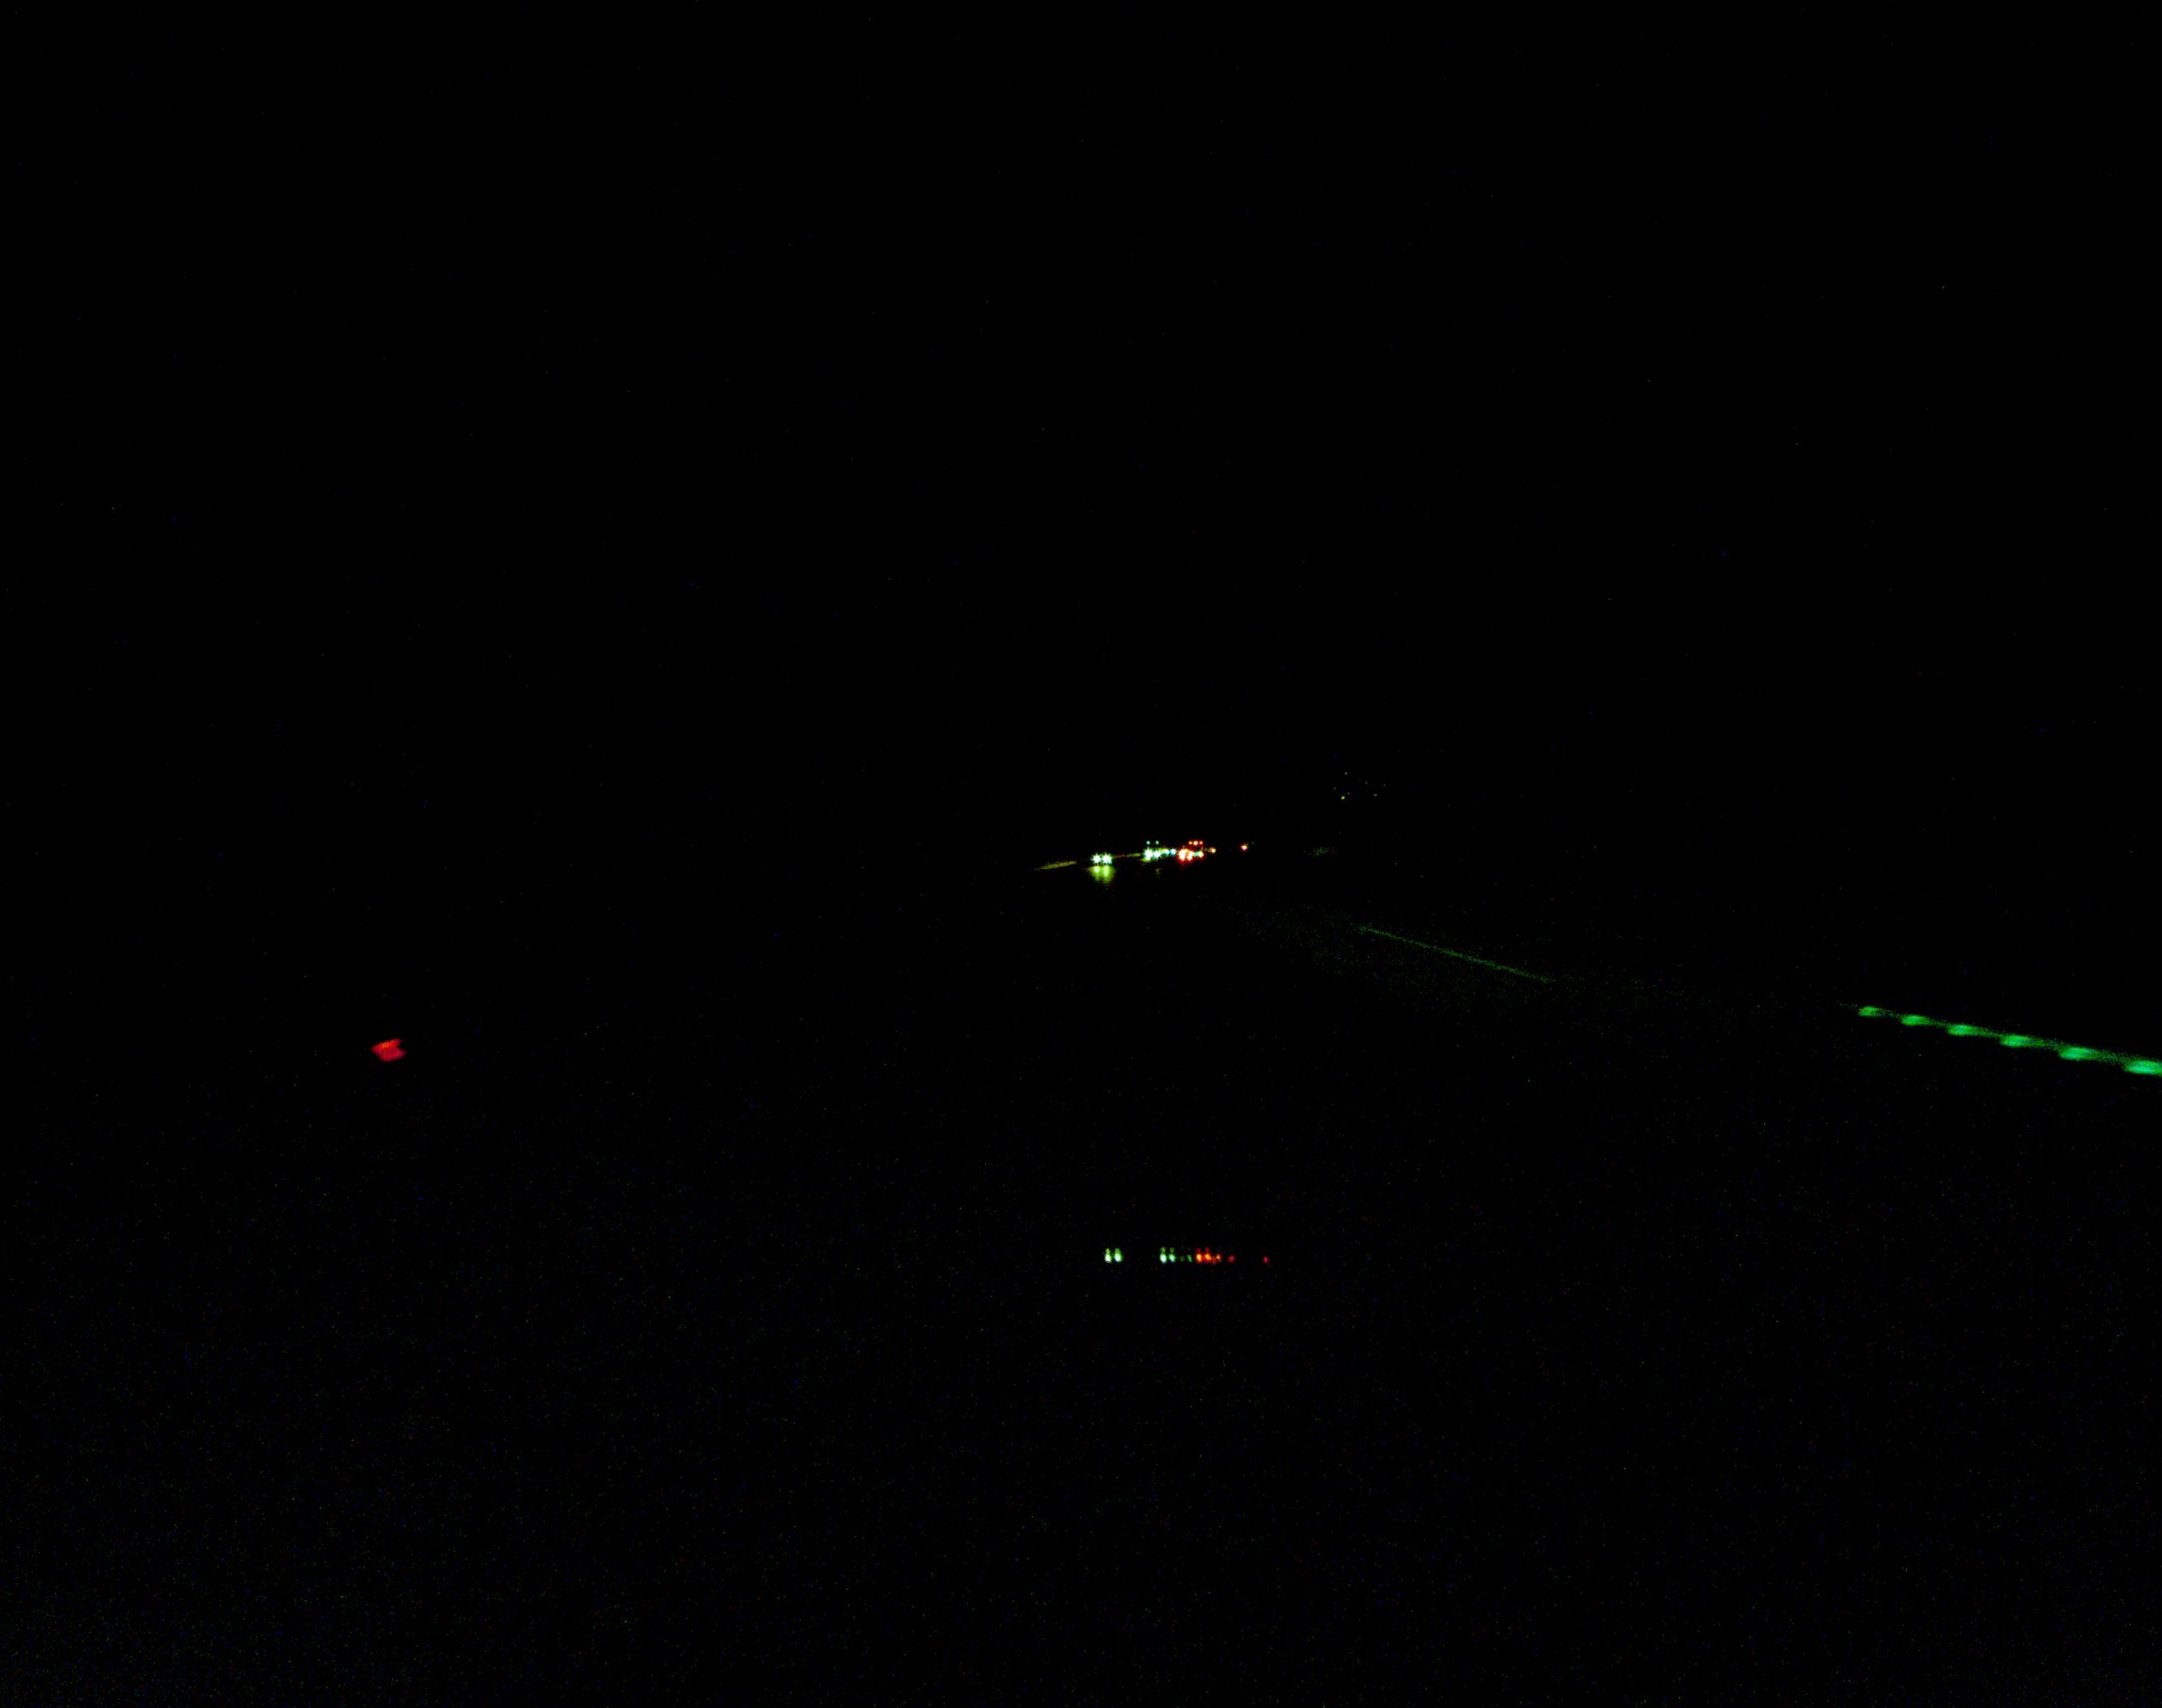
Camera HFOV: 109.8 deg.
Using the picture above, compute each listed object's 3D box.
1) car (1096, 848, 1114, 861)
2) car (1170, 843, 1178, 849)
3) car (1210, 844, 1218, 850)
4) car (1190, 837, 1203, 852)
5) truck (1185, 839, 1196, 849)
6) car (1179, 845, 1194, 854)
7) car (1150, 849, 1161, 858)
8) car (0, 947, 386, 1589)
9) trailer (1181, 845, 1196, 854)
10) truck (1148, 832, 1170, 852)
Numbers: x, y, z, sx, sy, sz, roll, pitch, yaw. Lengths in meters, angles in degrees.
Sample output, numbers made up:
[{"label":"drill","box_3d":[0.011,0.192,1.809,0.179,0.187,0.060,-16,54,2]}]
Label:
[{"label":"car","box_3d":[2.855,0.031,90.887,1.811,1.508,3.938,0,0,7]},{"label":"car","box_3d":[24.100,-2.053,197.356,1.689,1.619,4.727,0,0,12]},{"label":"car","box_3d":[34.733,-1.832,198.731,1.687,1.450,4.204,0,1,14]},{"label":"car","box_3d":[24.166,-2.021,158.507,2.490,3.088,7.388,0,2,9]},{"label":"truck","box_3d":[29.423,-2.705,204.352,2.424,2.410,7.098,0,1,13]},{"label":"car","box_3d":[16.487,-0.671,118.904,1.917,1.418,4.953,0,0,3]},{"label":"car","box_3d":[14.079,-0.088,143.568,1.811,1.508,3.938,0,0,10]},{"label":"car","box_3d":[-3.568,1.059,0.372,1.812,1.418,4.875,0,0,3]},{"label":"trailer","box_3d":[16.215,-0.660,114.759,1.888,1.418,3.351,0,0,3]},{"label":"truck","box_3d":[18.047,-2.835,174.453,2.969,4.251,17.156,0,2,12]}]
